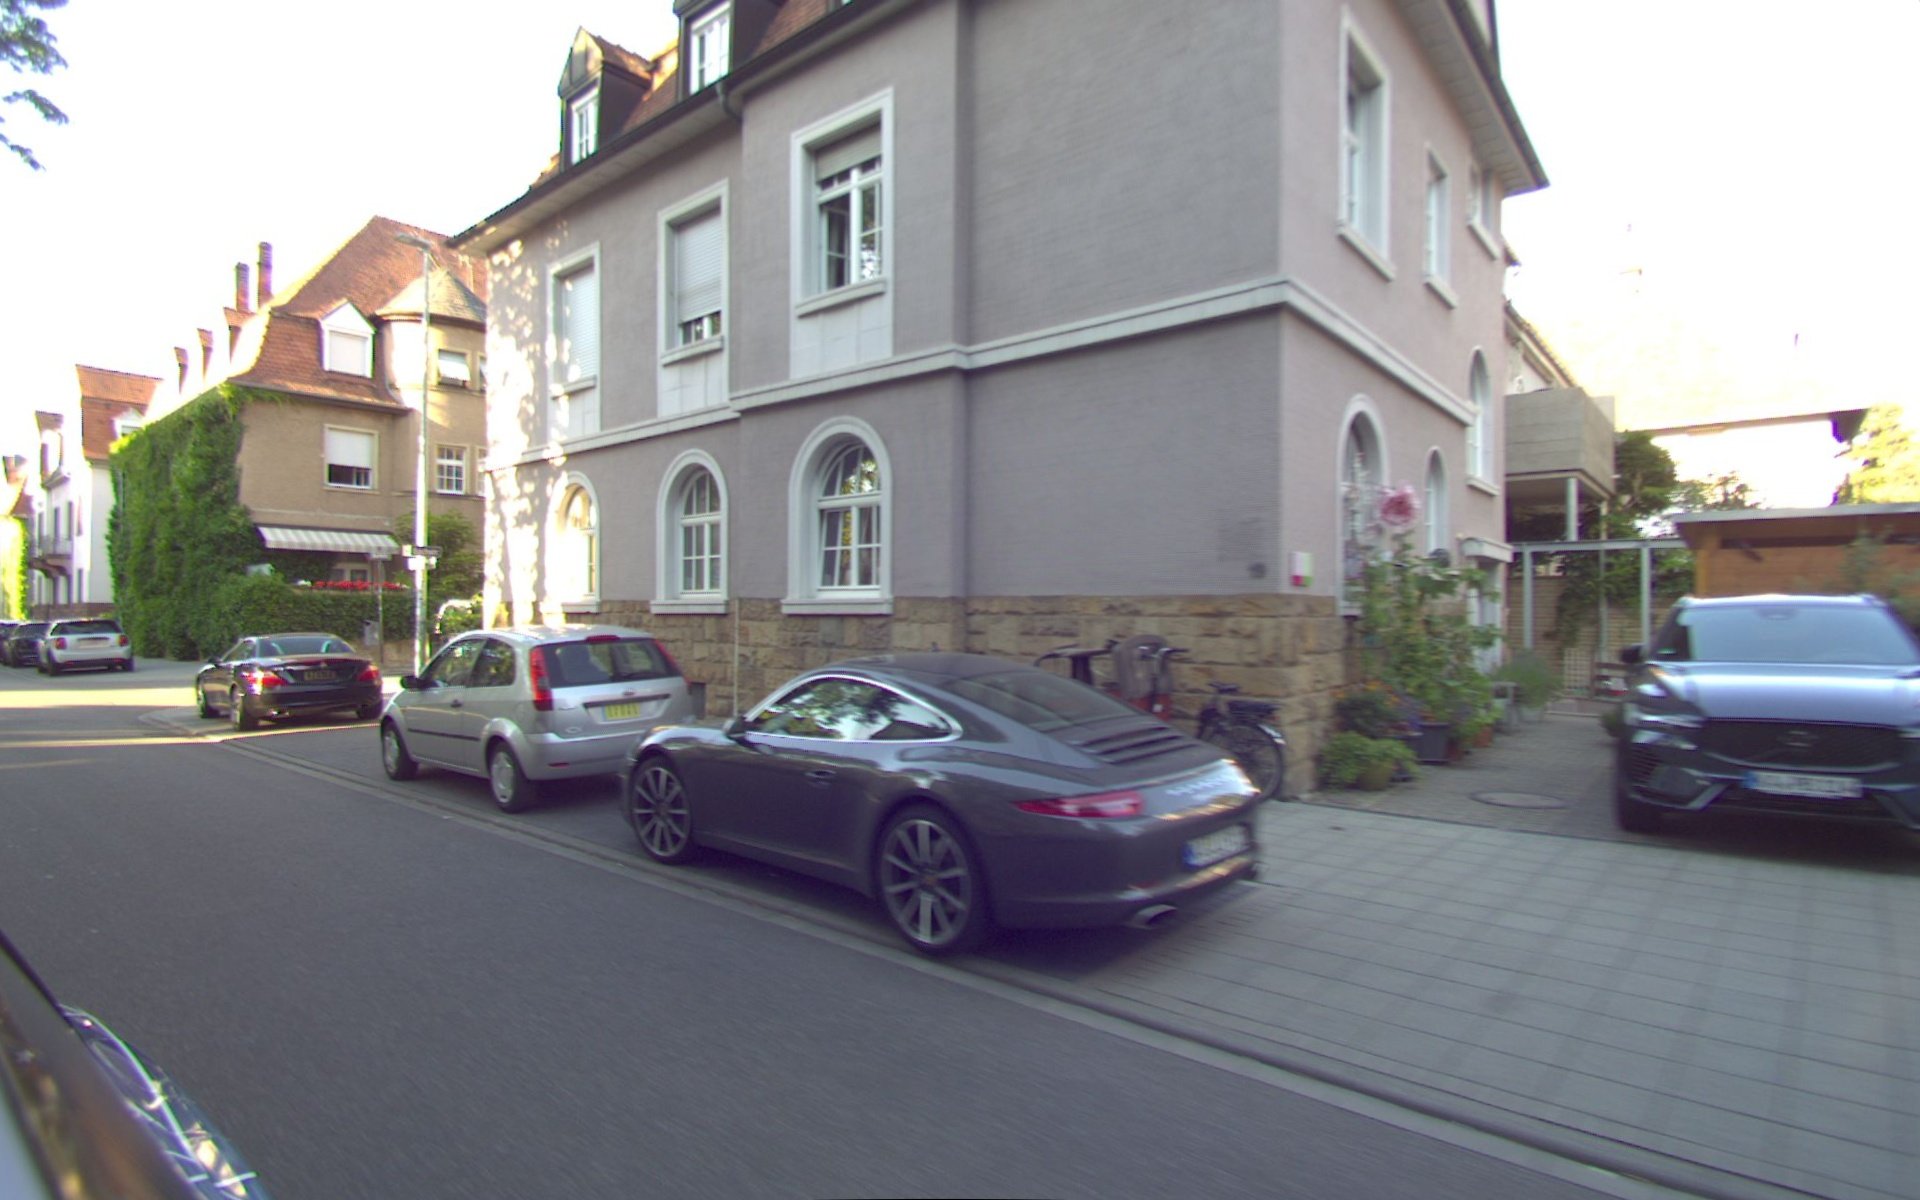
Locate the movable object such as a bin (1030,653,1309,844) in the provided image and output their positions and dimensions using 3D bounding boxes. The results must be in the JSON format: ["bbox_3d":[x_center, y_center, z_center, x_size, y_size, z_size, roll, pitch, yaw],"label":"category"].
[{"bbox_3d":[1.607,1.089,8.065,2.095,1.293,0.714,-2,-2,42],"label":"movable object such as a bin"}]

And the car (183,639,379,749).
[{"bbox_3d":[-10.350,1.313,15.310,4.046,1.333,1.635,-1,0,44],"label":"car"}]

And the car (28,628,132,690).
[{"bbox_3d":[-23.500,1.513,26.977,3.917,1.471,1.685,-2,-1,43],"label":"car"}]

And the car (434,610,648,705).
[{"bbox_3d":[-10.043,1.311,24.551,1.998,2.029,4.358,2,0,39],"label":"car"}]

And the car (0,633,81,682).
[{"bbox_3d":[-28.768,1.740,31.503,3.719,1.390,1.668,-2,-1,42],"label":"car"}]

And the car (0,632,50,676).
[{"bbox_3d":[-32.968,1.844,35.124,4.097,1.431,1.632,-2,-1,42],"label":"car"}]

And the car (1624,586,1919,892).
[{"bbox_3d":[5.999,0.764,7.149,1.895,1.634,3.827,-2,-2,37],"label":"car"}]

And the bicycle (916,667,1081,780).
[{"bbox_3d":[0.328,1.135,9.659,1.721,0.944,0.389,-2,-2,42],"label":"bicycle"}]

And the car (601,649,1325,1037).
[{"bbox_3d":[-0.318,0.986,5.734,4.228,1.329,1.514,-2,-1,44],"label":"car"}]

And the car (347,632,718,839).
[{"bbox_3d":[-4.071,1.047,9.328,3.959,1.456,1.636,-2,-1,42],"label":"car"}]

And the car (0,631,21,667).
[{"bbox_3d":[-41.137,2.065,42.555,4.772,1.472,1.775,-2,-1,39],"label":"car"}]
